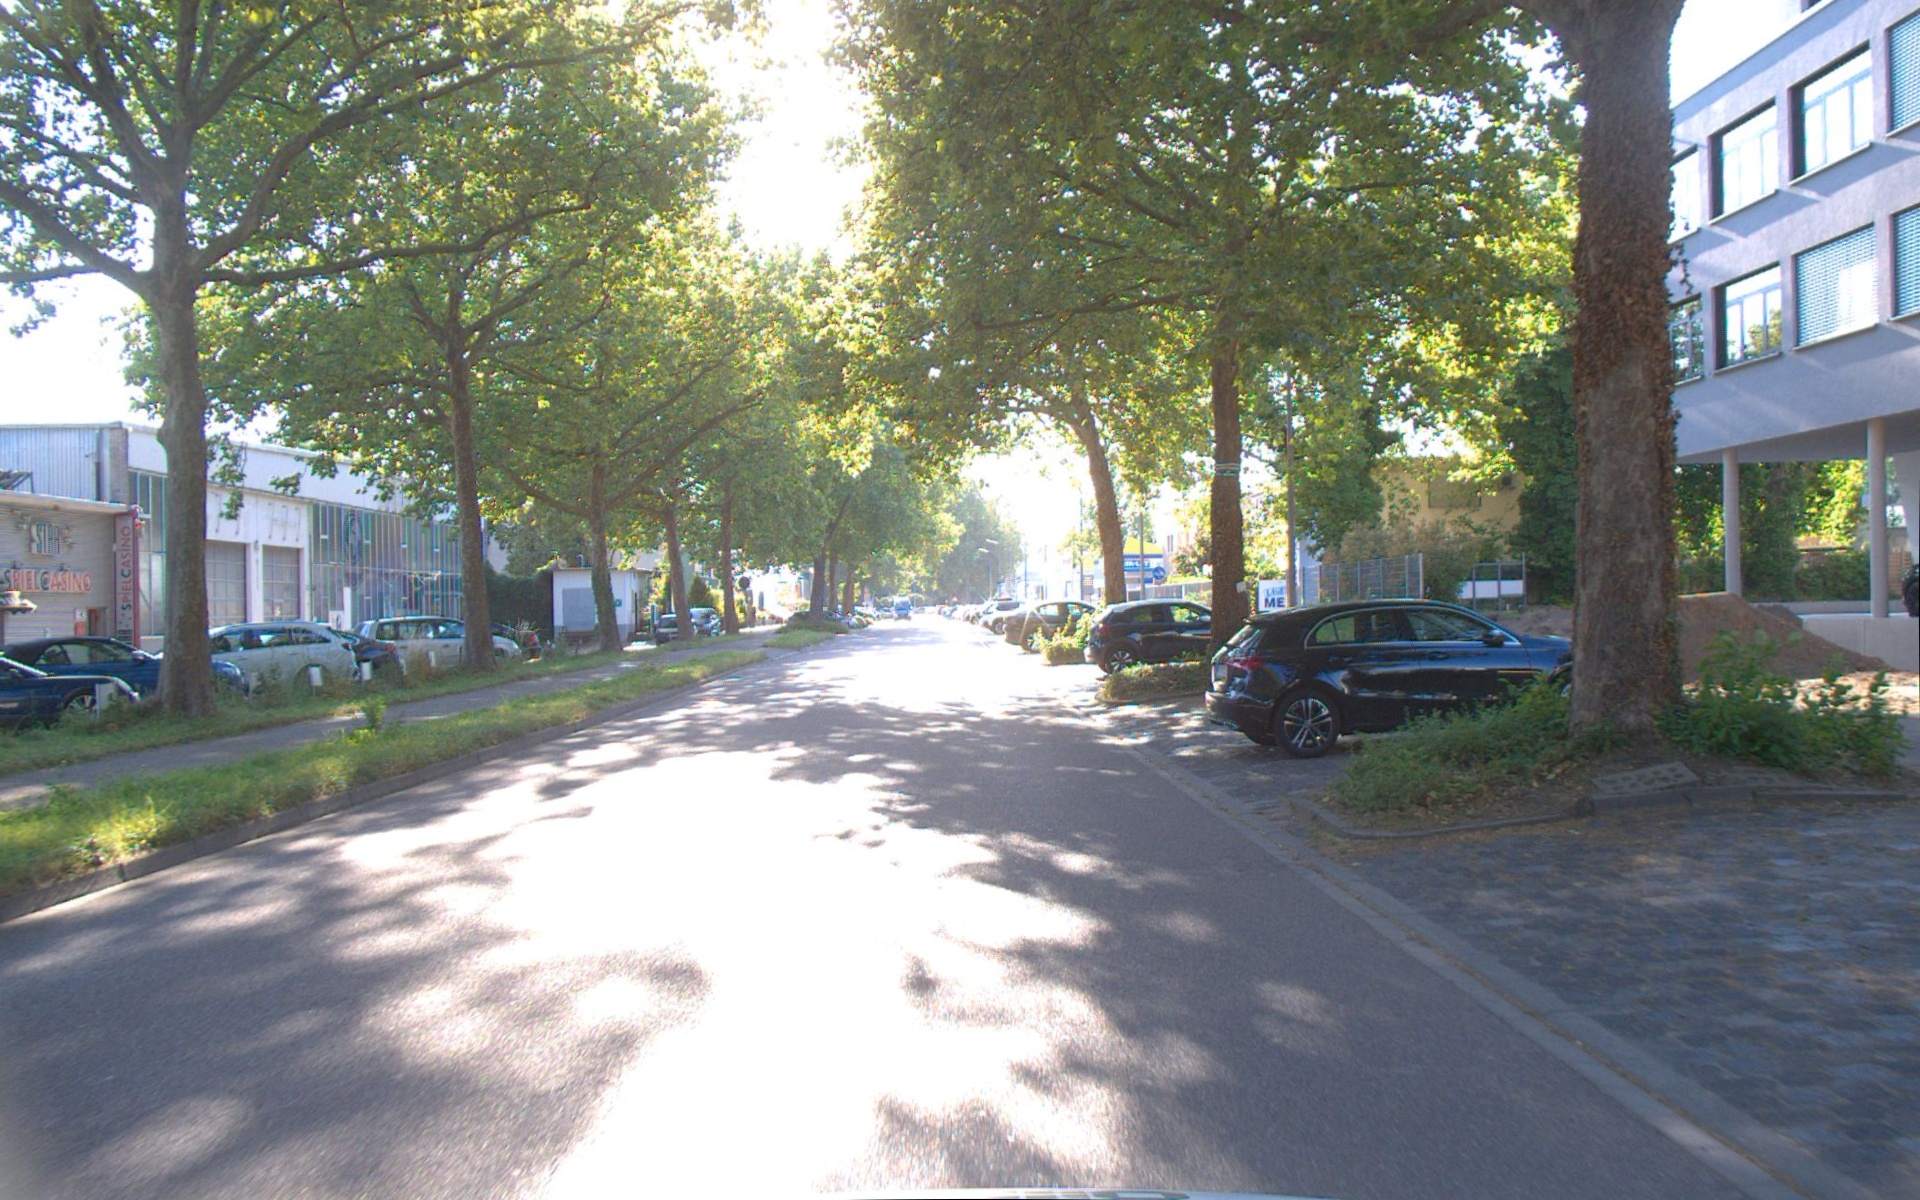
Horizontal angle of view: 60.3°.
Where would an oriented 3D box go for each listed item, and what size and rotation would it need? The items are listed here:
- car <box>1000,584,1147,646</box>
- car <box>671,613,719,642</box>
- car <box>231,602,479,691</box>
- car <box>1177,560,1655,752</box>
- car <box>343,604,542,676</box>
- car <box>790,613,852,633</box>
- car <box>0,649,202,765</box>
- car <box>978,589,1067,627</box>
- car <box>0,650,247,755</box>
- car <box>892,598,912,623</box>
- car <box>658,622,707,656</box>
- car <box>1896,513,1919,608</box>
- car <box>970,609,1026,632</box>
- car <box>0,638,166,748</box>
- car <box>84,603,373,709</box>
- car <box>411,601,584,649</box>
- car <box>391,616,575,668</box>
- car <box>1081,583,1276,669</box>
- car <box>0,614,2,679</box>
[{"bbox_3d":[3.686,0.509,54.093,4.480,1.745,1.941,-3,-1,-5],"label":"car"},{"bbox_3d":[-15.086,1.571,94.406,1.952,1.604,4.272,1,-1,0],"label":"car"},{"bbox_3d":[-12.072,0.930,33.203,1.964,1.658,4.238,0,-2,41],"label":"car"},{"bbox_3d":[4.471,0.546,16.650,4.199,1.512,1.859,-4,-1,-3],"label":"car"},{"bbox_3d":[-13.211,1.046,42.327,4.439,1.761,1.972,2,-2,-39],"label":"car"},{"bbox_3d":[-10.225,1.661,121.960,4.507,1.447,1.999,0,0,-2],"label":"car"},{"bbox_3d":[-12.813,1.420,22.453,4.221,1.477,1.972,2,-2,-39],"label":"car"},{"bbox_3d":[3.336,0.447,88.576,4.533,1.742,1.999,-3,-1,-3],"label":"car"},{"bbox_3d":[-13.474,1.534,25.446,4.221,1.477,1.972,2,-2,-39],"label":"car"},{"bbox_3d":[-6.301,1.129,179.827,2.084,2.706,6.999,-1,0,-1],"label":"car"},{"bbox_3d":[-13.225,1.865,79.025,1.956,1.393,3.915,-5,-1,-6],"label":"car"},{"bbox_3d":[18.806,-0.767,29.410,1.952,1.762,4.670,1,-1,4],"label":"car"},{"bbox_3d":[3.103,1.720,135.934,4.506,1.607,2.000,-3,-2,1],"label":"car"},{"bbox_3d":[-13.157,1.217,22.139,4.221,1.406,1.972,2,-2,-39],"label":"car"},{"bbox_3d":[-12.829,0.983,29.194,1.965,1.729,4.236,0,-2,42],"label":"car"},{"bbox_3d":[-13.390,0.706,48.027,4.447,1.329,1.969,0,-1,-43],"label":"car"},{"bbox_3d":[-12.923,1.103,44.959,4.447,1.329,1.969,0,-1,-43],"label":"car"},{"bbox_3d":[4.517,0.547,34.598,3.710,1.512,1.859,-3,-1,-3],"label":"car"},{"bbox_3d":[-13.414,0.850,18.689,4.221,1.477,1.972,2,-2,-39],"label":"car"}]
